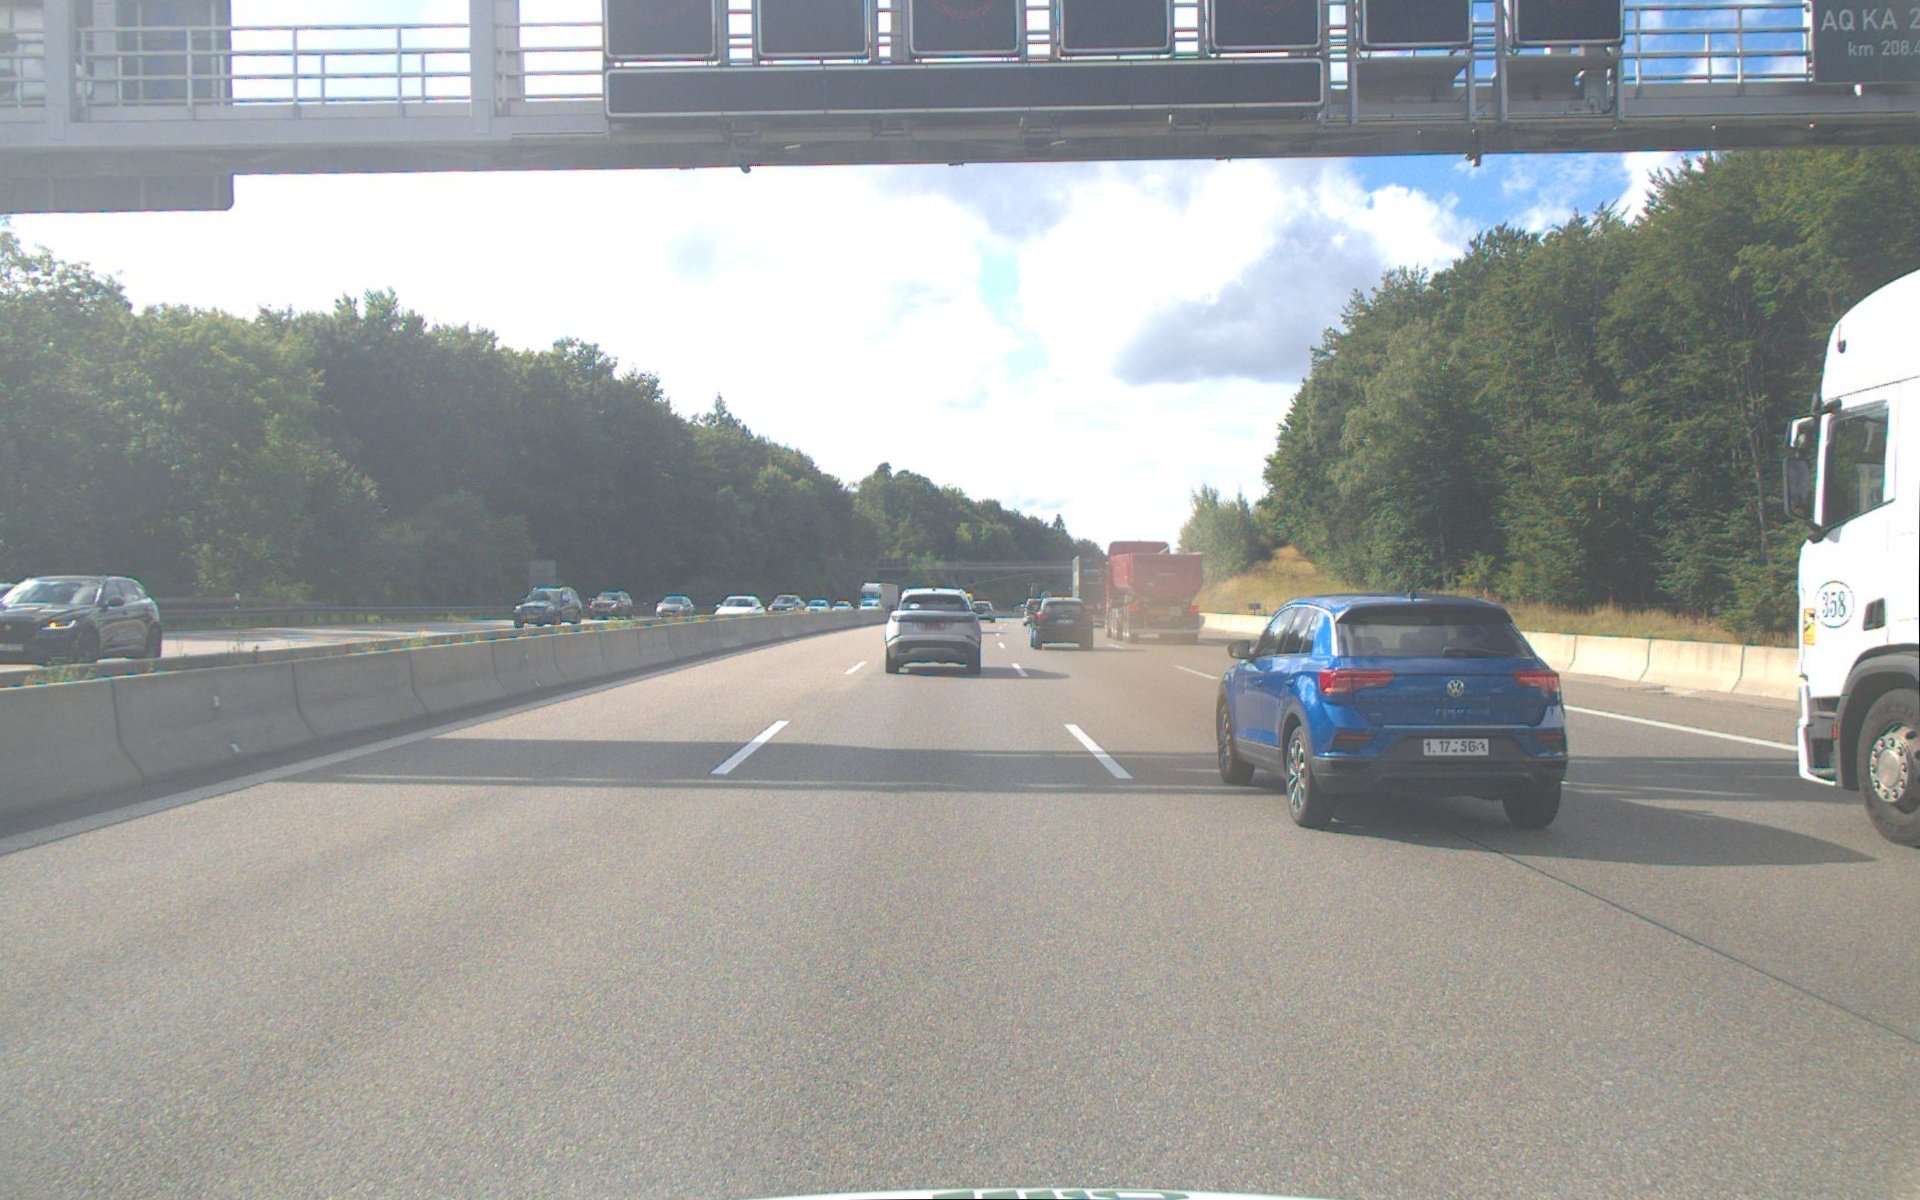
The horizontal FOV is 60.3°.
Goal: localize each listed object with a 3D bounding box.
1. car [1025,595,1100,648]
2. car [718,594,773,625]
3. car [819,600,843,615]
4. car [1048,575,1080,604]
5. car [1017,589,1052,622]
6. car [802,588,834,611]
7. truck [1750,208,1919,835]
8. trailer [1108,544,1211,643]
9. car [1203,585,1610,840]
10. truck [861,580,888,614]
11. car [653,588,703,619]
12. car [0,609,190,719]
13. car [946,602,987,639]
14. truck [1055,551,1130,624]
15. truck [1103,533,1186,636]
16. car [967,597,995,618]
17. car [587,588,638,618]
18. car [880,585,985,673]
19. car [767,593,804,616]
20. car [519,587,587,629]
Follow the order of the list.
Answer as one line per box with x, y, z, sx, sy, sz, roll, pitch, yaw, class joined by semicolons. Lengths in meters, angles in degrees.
3.047;0.619;49.909;1.786;1.483;3.997;1;0;-4;car
-9.580;0.392;74.161;1.687;1.333;4.882;1;0;1;car
-13.260;0.767;170.350;2.028;1.498;4.672;1;0;2;car
6.917;-0.672;110.166;1.855;1.889;4.100;1;0;0;car
4.379;0.295;97.827;1.855;1.889;4.100;1;0;-1;car
-11.217;-0.052;130.836;1.888;1.746;4.425;1;0;4;car
7.278;-0.486;9.362;2.595;3.890;6.080;0;0;-1;truck
7.071;-0.236;59.832;2.654;3.288;9.733;1;0;1;trailer
3.089;0.689;12.442;1.737;1.557;4.456;1;0;-2;car
-10.904;-0.384;210.563;2.650;4.139;6.601;1;0;4;truck
-16.590;0.184;97.405;1.888;1.746;4.425;1;0;4;car
-15.014;1.006;28.094;1.663;1.658;4.499;1;0;1;car
0.302;0.893;73.512;1.785;1.573;4.000;1;0;1;car
7.651;-0.724;97.039;3.056;4.003;10.405;1;0;-3;truck
7.128;-0.585;64.522;2.654;3.784;5.818;1;0;1;truck
1.486;0.532;116.702;1.784;1.483;4.002;1;0;4;car
-20.896;0.172;99.714;1.888;1.746;4.425;1;0;4;car
-0.519;0.537;34.120;1.965;1.644;5.301;1;0;0;car
-11.877;0.269;112.658;1.685;1.505;4.633;1;0;5;car
-16.935;0.306;69.055;1.632;1.668;4.480;1;0;1;car
